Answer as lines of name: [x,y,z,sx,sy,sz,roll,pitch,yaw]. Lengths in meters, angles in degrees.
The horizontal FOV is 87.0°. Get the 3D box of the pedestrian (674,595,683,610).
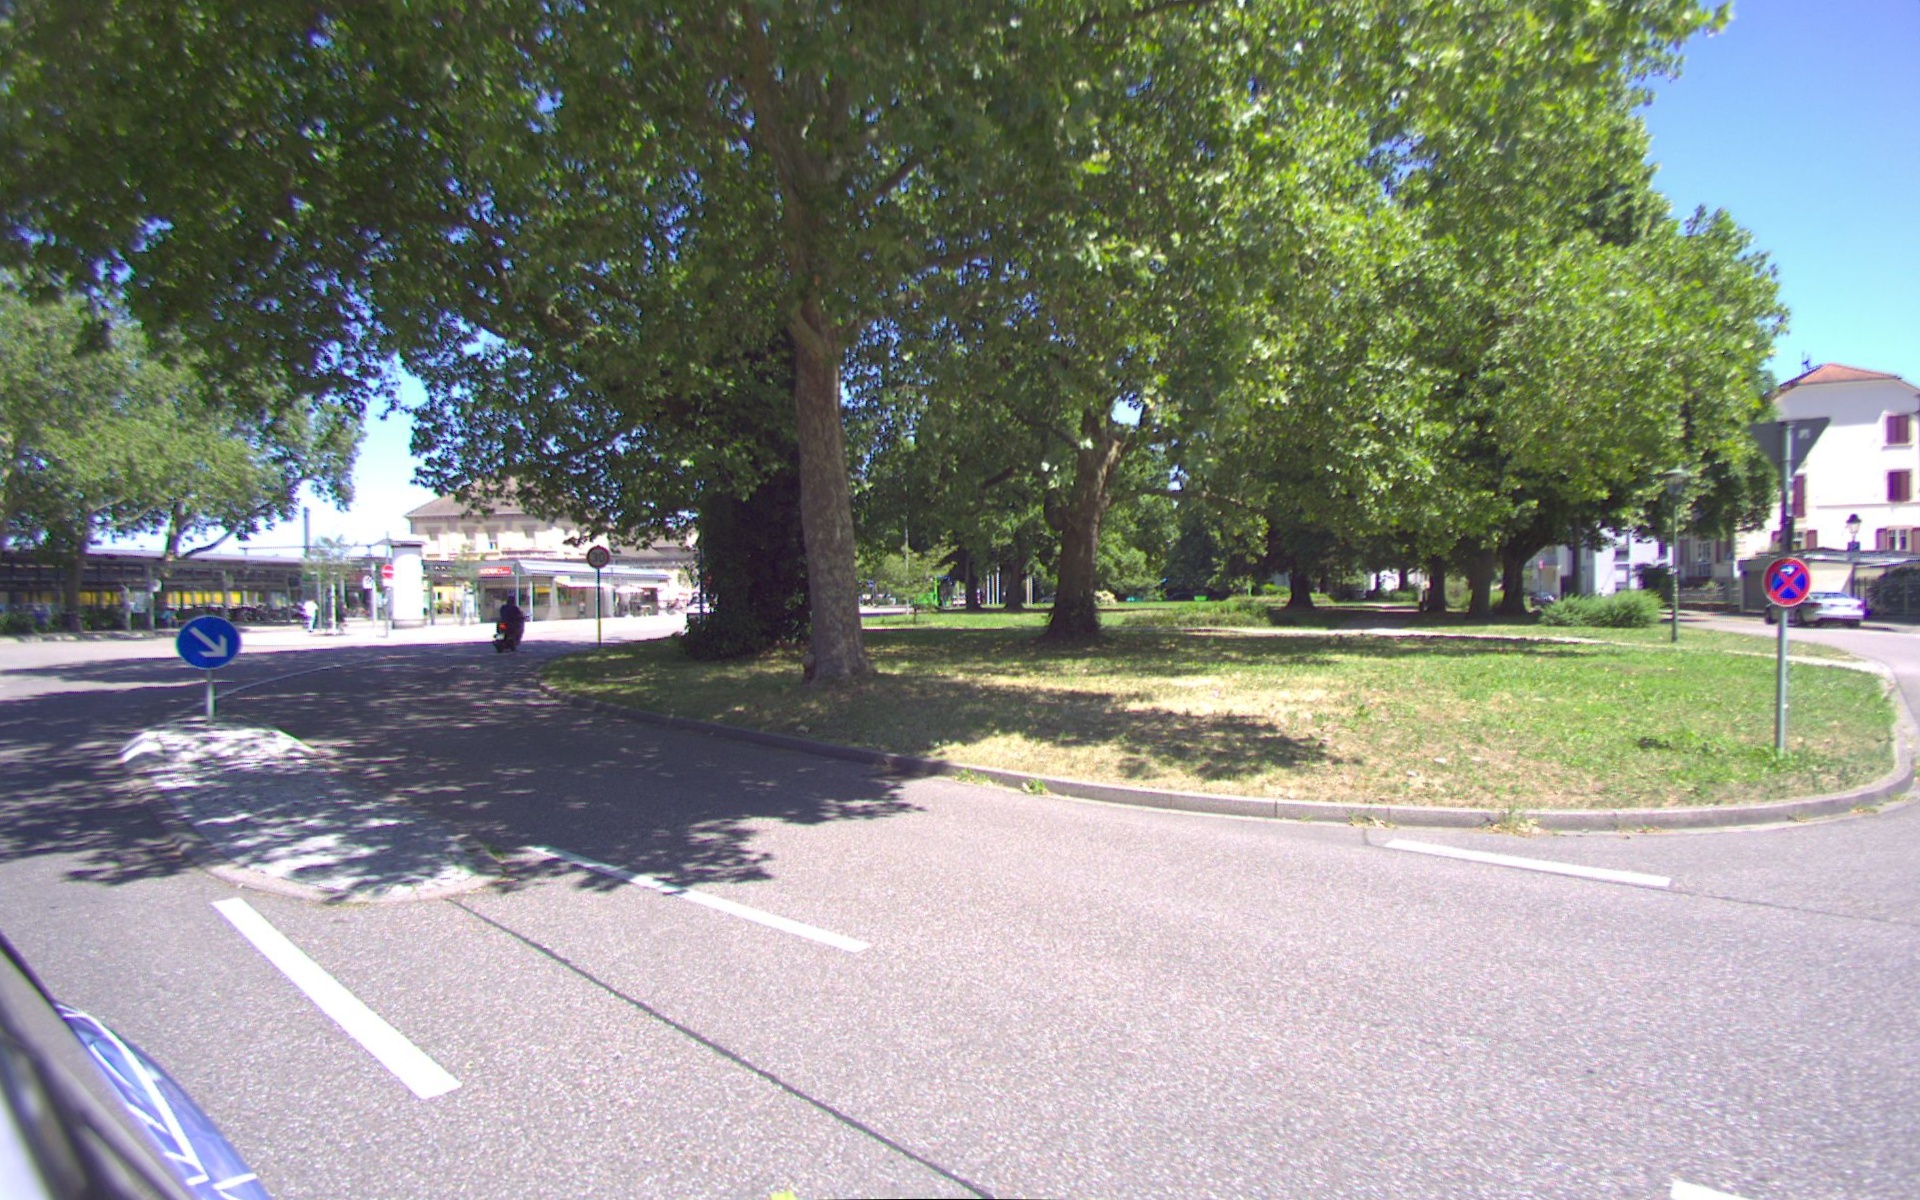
pedestrian: [-22.581,0.213,81.233,0.497,1.241,0.513,-1,0,2]

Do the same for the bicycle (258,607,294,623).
bicycle: [-47.856,1.053,70.790,2.142,1.081,0.669,1,3,6]

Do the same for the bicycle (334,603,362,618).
bicycle: [-50.196,0.839,83.015,0.663,1.081,2.163,1,4,11]

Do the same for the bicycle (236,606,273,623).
bicycle: [-48.137,0.993,69.036,2.142,1.081,0.669,1,3,6]

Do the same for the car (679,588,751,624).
car: [-12.812,0.337,53.221,2.028,1.760,4.306,1,-1,12]

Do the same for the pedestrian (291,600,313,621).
pedestrian: [-45.483,0.726,69.925,0.952,1.396,0.829,-1,0,9]

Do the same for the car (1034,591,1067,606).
car: [11.616,-0.214,129.513,3.957,1.817,1.993,-1,0,11]

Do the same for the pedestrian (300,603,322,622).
pedestrian: [-45.418,0.869,70.824,0.952,1.315,0.829,-1,0,9]

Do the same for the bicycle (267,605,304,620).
bicycle: [-51.387,0.935,77.126,2.135,1.081,0.865,0,4,-9]

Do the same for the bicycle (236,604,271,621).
bicycle: [-50.748,0.874,72.740,0.663,1.081,2.163,1,4,11]

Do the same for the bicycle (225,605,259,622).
bicycle: [-51.746,0.979,72.972,0.663,1.081,2.163,1,4,11]

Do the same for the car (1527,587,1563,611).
car: [45.467,-0.077,78.754,1.989,1.792,4.468,-1,0,25]

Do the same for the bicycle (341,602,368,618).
bicycle: [-49.516,0.805,82.792,0.663,1.081,2.163,1,4,11]

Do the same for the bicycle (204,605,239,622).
bicycle: [-53.399,0.946,73.223,0.663,1.081,2.163,1,4,11]

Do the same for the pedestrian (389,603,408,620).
pedestrian: [-44.396,0.874,80.019,0.952,1.315,0.829,-1,0,9]

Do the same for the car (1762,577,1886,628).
car: [32.547,0.064,38.299,1.984,1.792,4.478,-1,0,19]

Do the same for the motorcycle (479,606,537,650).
motorcycle: [-13.296,0.802,29.848,0.798,1.241,2.050,-1,0,0]

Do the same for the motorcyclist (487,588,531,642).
motorcyclist: [-13.309,0.429,29.905,0.798,1.567,1.104,-1,0,0]

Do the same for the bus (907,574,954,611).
bus: [-2.741,-0.715,98.904,2.782,3.327,11.832,-1,0,7]

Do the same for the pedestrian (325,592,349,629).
pedestrian: [-30.877,0.535,50.131,0.900,1.798,0.696,-1,0,-40]

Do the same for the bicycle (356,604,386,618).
bicycle: [-46.975,0.883,80.714,2.147,1.081,0.668,1,4,12]

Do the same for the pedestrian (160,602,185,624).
pedestrian: [-46.721,0.743,60.064,0.820,1.284,0.867,-1,0,4]

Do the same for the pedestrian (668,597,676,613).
pedestrian: [-23.095,0.400,81.147,0.485,1.220,0.470,-1,0,14]

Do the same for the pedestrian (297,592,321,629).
pedestrian: [-31.722,0.495,49.326,0.900,1.749,0.677,-1,0,-38]
